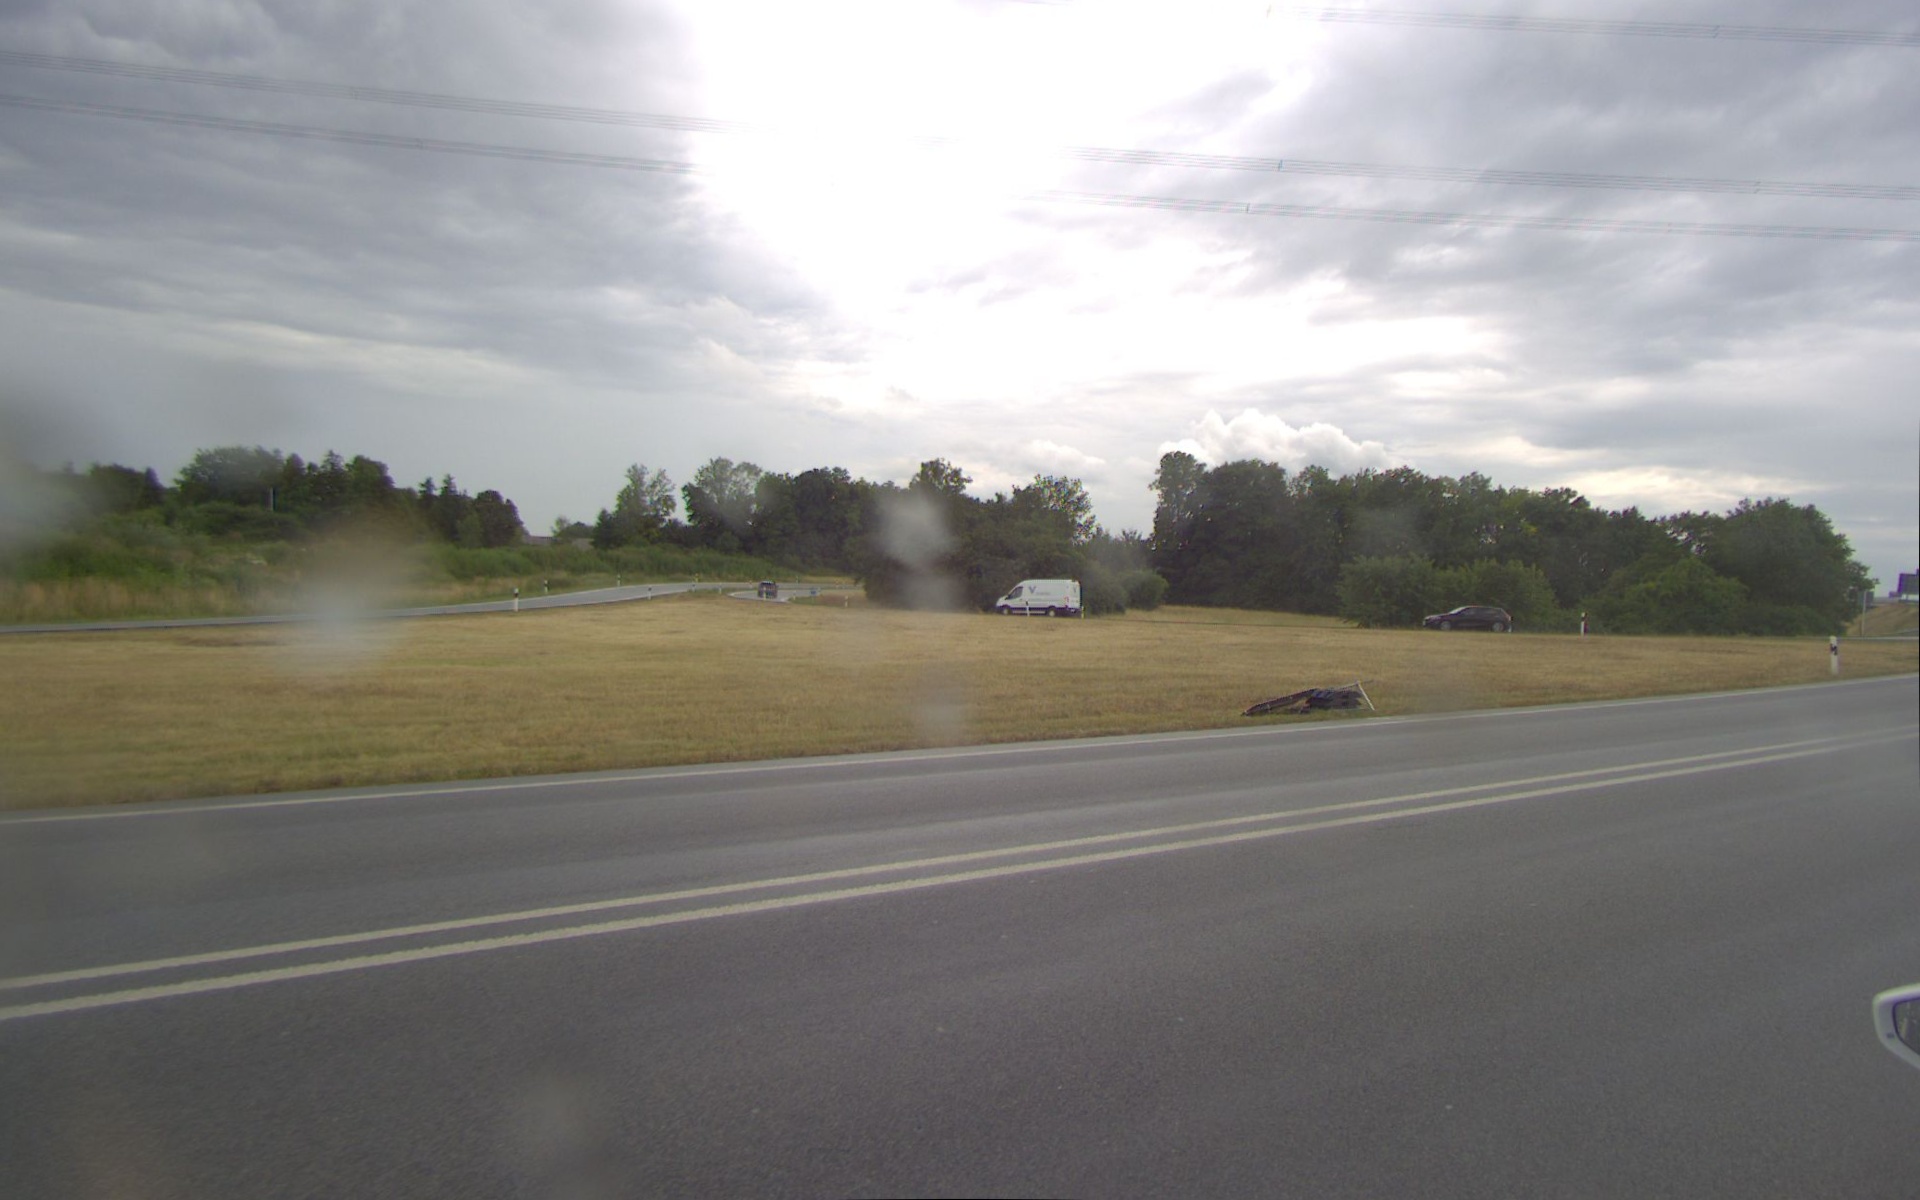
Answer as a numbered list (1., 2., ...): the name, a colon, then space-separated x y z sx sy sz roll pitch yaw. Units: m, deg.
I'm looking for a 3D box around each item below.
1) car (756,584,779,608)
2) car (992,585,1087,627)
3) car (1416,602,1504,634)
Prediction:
1. car: -19.811 -0.451 103.170 1.967 2.040 3.987 4 3 -15
2. car: 4.963 0.364 63.044 5.371 2.422 2.438 2 0 29
3. car: 26.947 0.941 54.224 3.837 1.625 1.989 1 0 12
